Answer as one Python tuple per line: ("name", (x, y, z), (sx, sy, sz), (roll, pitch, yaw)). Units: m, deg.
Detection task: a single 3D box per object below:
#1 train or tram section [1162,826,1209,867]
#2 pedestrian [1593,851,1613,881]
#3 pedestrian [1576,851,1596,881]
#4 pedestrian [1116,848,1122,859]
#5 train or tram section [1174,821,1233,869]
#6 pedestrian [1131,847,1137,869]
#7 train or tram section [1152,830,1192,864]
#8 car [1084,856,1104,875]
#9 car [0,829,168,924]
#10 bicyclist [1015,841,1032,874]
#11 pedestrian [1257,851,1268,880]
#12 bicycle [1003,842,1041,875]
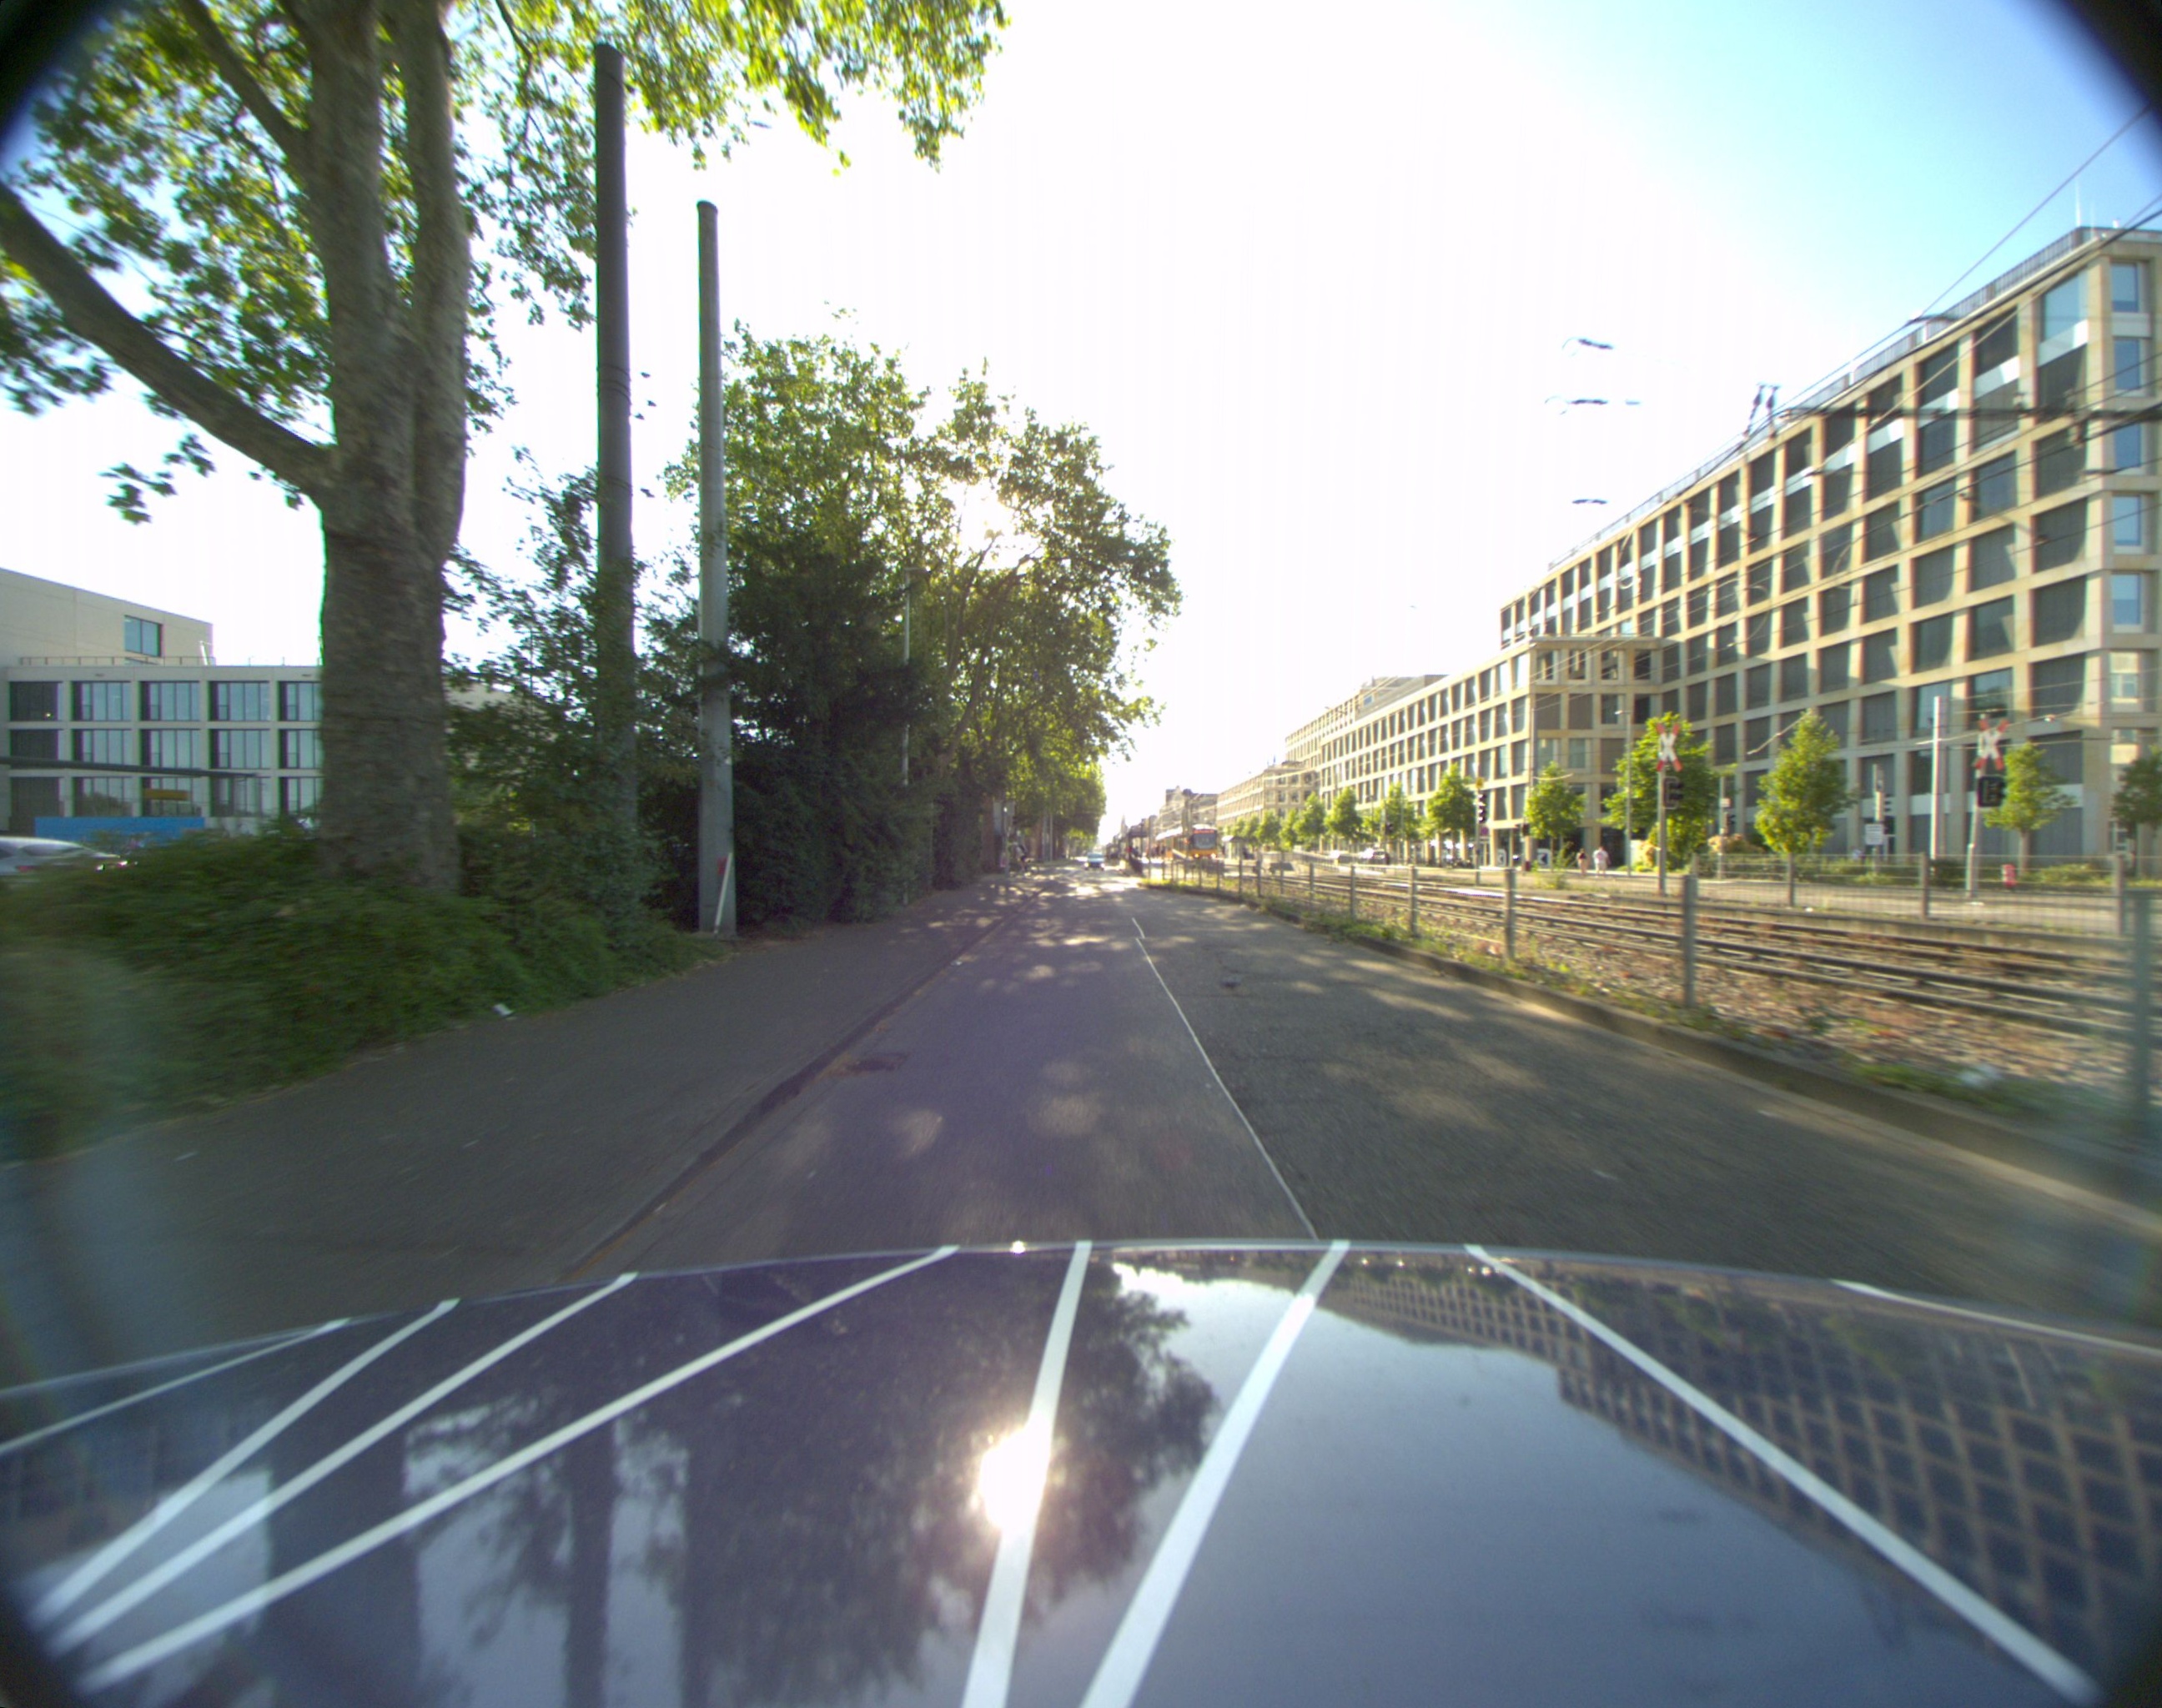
("train or tram section", (10.463, -0.739, 77.399), (3.317, 3.807, 11.843), (0, 0, 1))
("pedestrian", (29.746, 0.687, 43.271), (0.665, 1.707, 0.671), (0, 1, -1))
("pedestrian", (28.804, 0.675, 43.341), (0.665, 1.707, 0.671), (0, 1, -1))
("pedestrian", (5.387, -0.089, 107.793), (0.614, 1.633, 0.612), (0, 1, -18))
("train or tram section", (10.298, -0.715, 65.399), (3.317, 3.807, 11.843), (0, 0, 1))
("pedestrian", (4.132, 0.300, 59.264), (0.413, 1.707, 0.665), (0, 1, 1))
("train or tram section", (10.638, -0.773, 90.619), (3.317, 3.807, 14.219), (0, 0, 1))
("car", (1.107, 0.990, 64.552), (1.649, 1.555, 3.666), (0, 0, 0))
("car", (-21.823, 0.419, 15.263), (4.364, 1.805, 1.999), (0, 0, -3))
("bicyclist", (-3.034, 0.194, 40.023), (0.909, 1.707, 0.770), (0, 1, -6))
("pedestrian", (10.922, 0.693, 45.740), (0.670, 1.707, 0.725), (0, 1, 13))
("bicycle", (-3.112, 0.247, 40.048), (1.972, 1.707, 0.591), (0, 1, -6))
